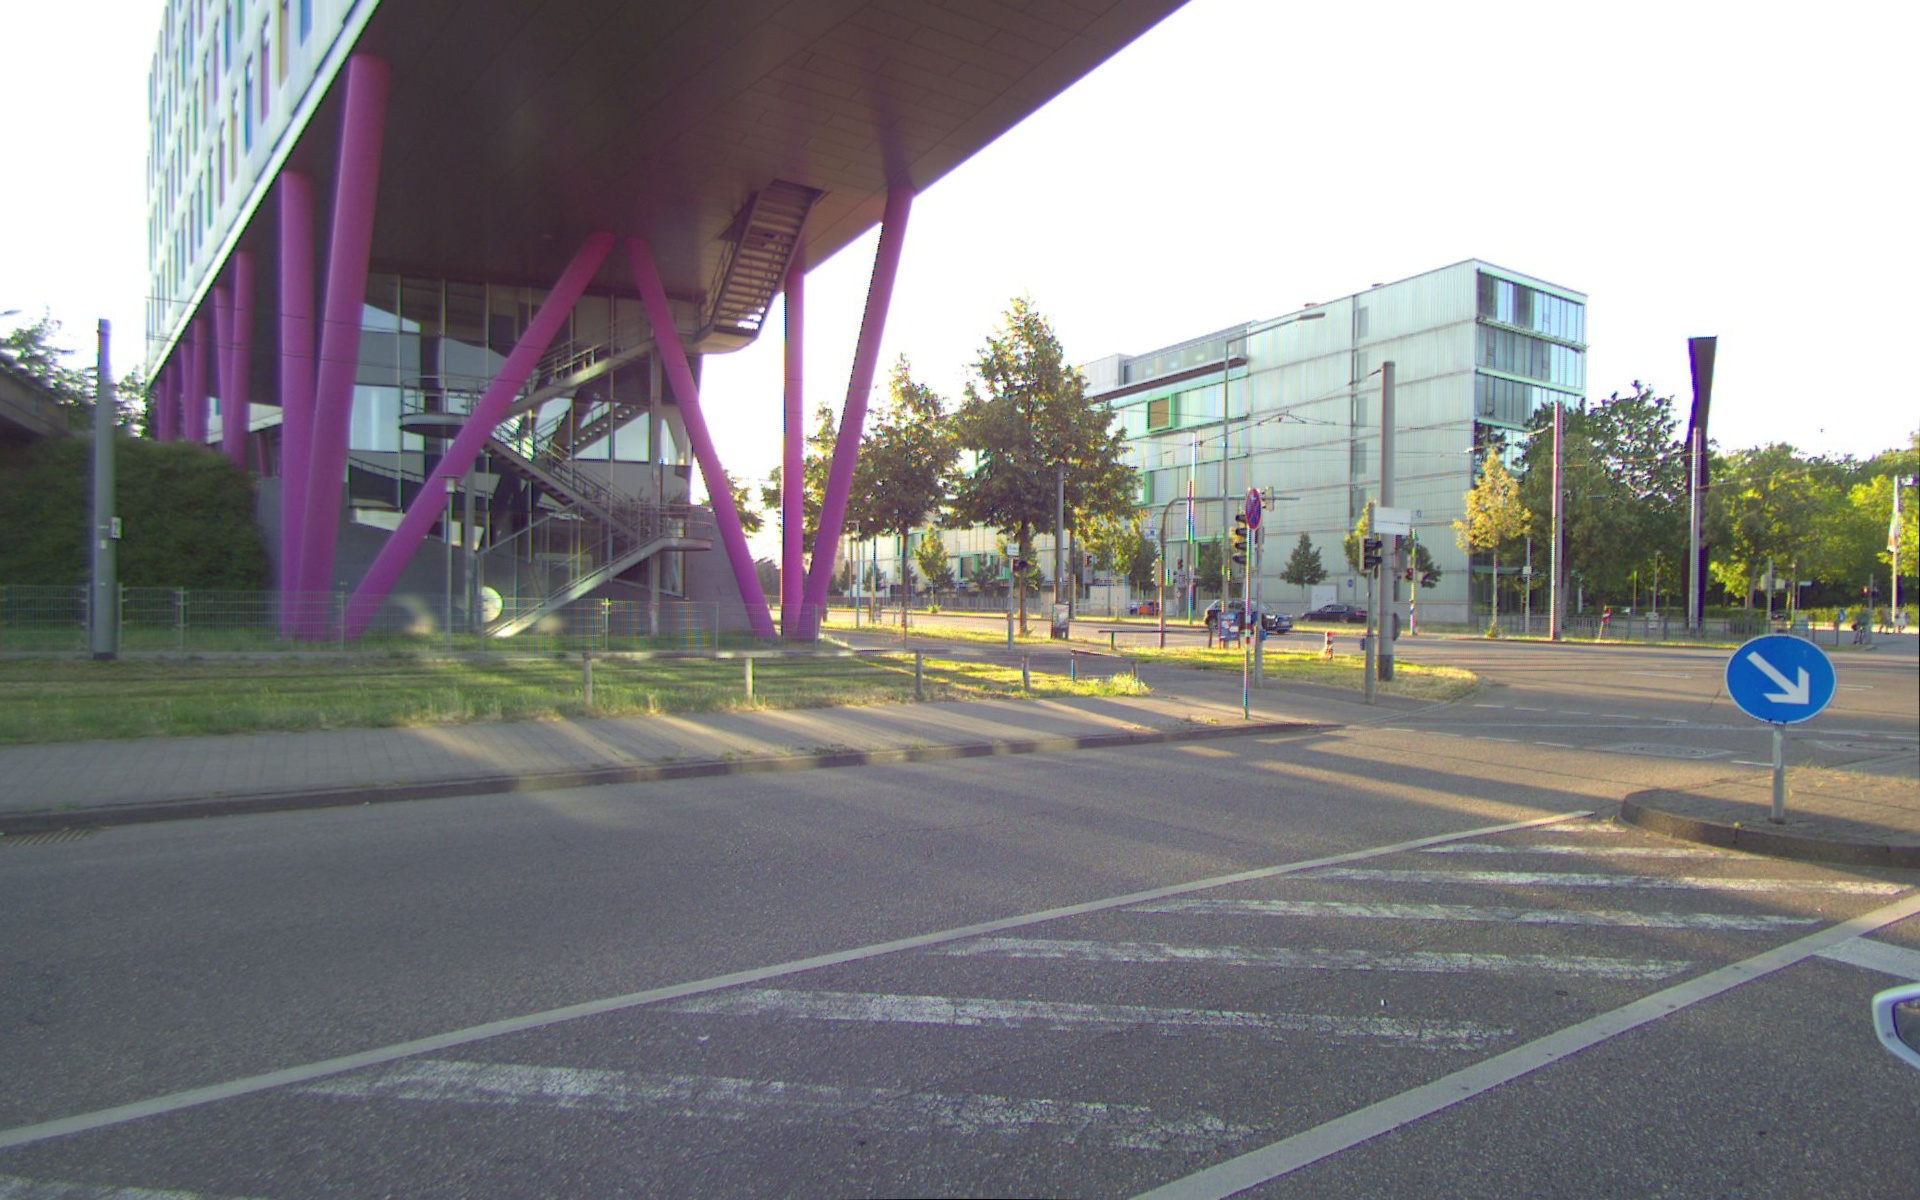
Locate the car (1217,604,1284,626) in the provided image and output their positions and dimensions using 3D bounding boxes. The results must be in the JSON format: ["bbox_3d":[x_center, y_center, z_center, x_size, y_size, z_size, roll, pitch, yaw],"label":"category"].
[{"bbox_3d":[22.571,1.119,78.226,1.977,1.572,5.075,2,-1,-30],"label":"car"}]

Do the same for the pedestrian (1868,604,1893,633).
[{"bbox_3d":[56.734,1.113,61.920,0.813,1.767,0.863,1,0,11],"label":"pedestrian"}]

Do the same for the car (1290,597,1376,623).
[{"bbox_3d":[24.176,0.614,65.296,1.977,1.572,5.200,2,-1,-30],"label":"car"}]

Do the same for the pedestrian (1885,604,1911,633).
[{"bbox_3d":[57.617,1.133,61.722,0.813,1.767,0.863,1,0,11],"label":"pedestrian"}]

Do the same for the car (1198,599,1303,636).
[{"bbox_3d":[13.295,0.794,46.201,1.968,1.577,4.448,1,0,-34],"label":"car"}]

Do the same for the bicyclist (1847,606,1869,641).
[{"bbox_3d":[45.035,1.164,50.392,0.741,1.732,0.916,1,0,38],"label":"bicyclist"}]

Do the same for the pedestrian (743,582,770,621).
[{"bbox_3d":[-9.469,0.074,46.733,0.926,1.747,0.873,1,-2,-40],"label":"pedestrian"}]

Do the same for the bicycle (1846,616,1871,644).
[{"bbox_3d":[45.221,1.482,50.559,0.721,1.359,2.679,1,0,38],"label":"bicycle"}]
